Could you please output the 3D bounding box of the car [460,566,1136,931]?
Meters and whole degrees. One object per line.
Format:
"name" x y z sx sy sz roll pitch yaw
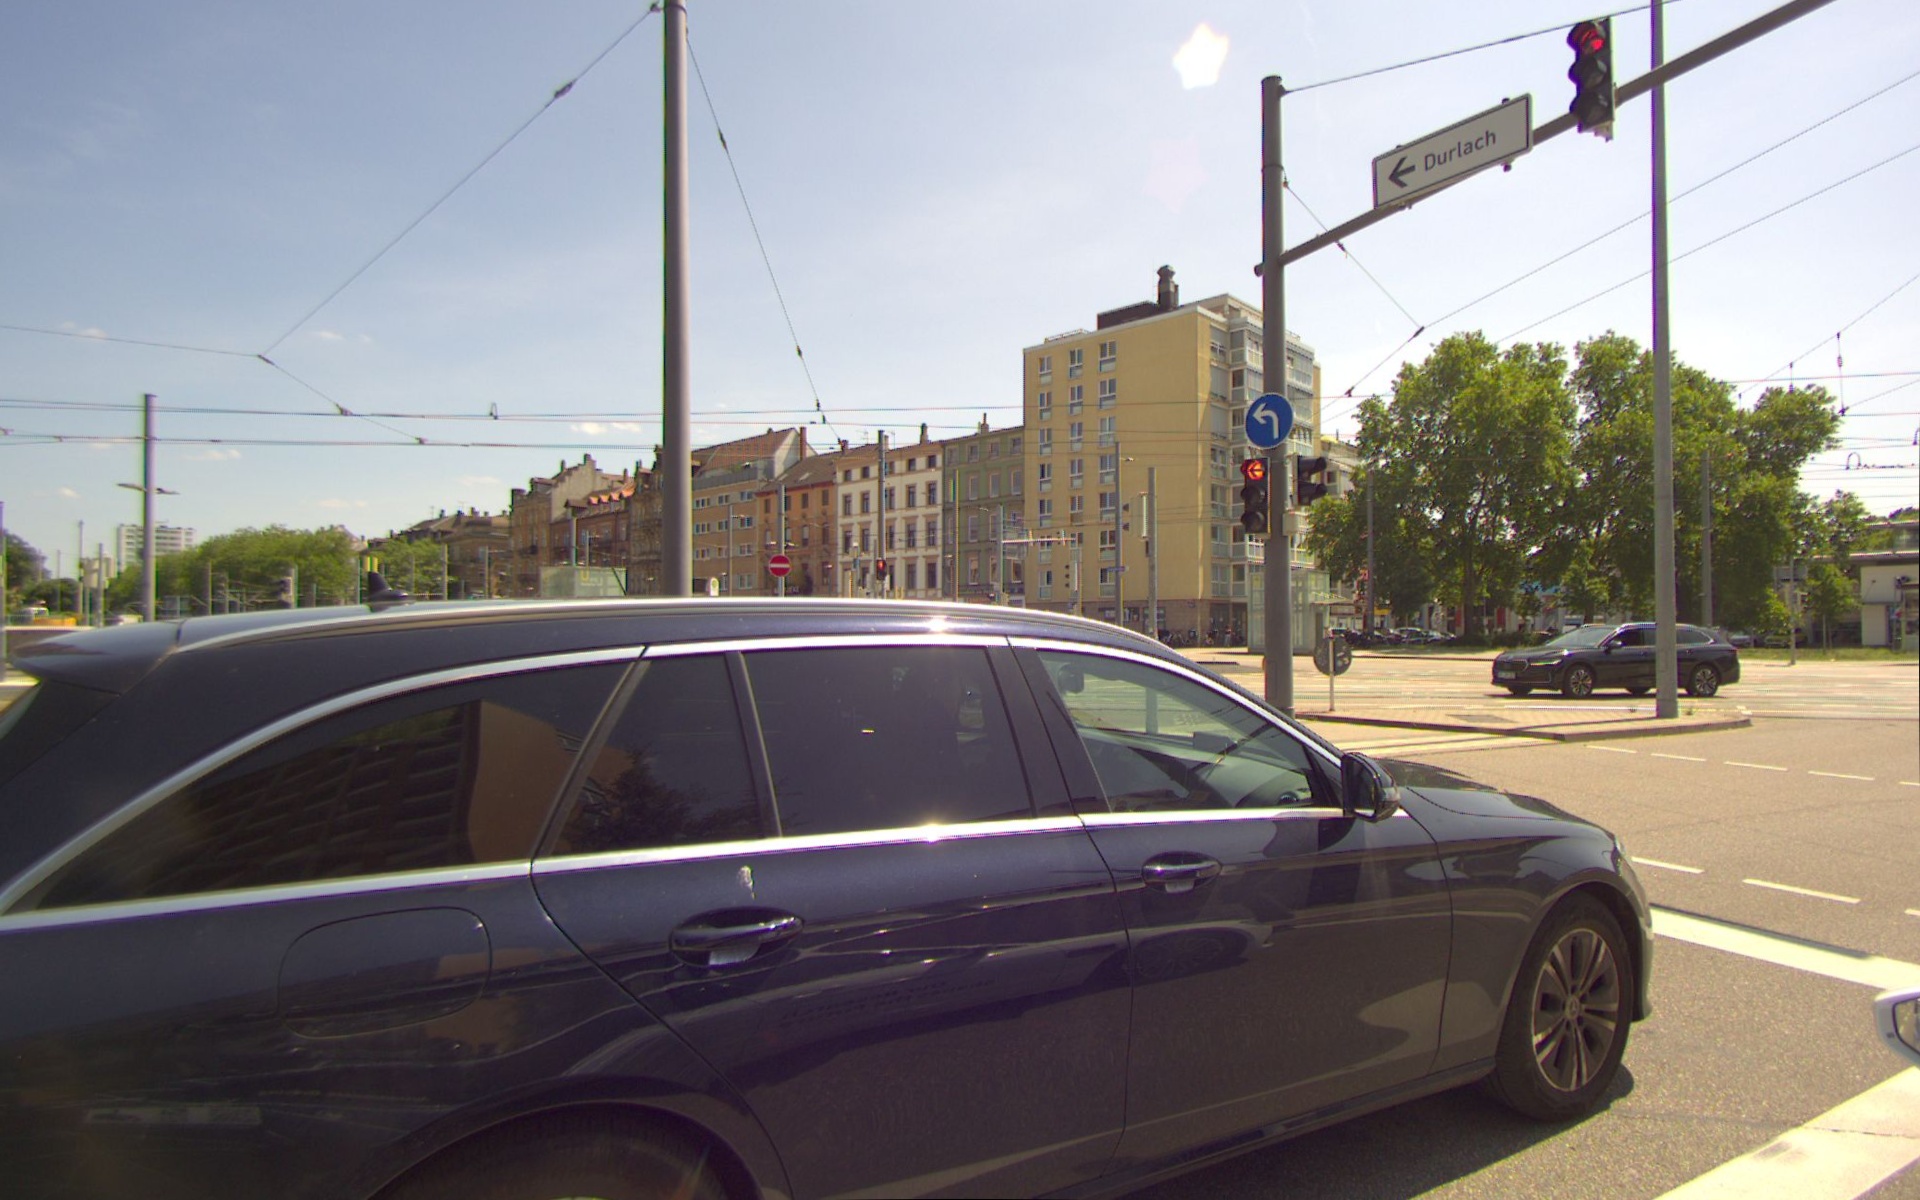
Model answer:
"car" -0.927 0.695 6.087 3.692 1.597 1.736 1 -2 -30

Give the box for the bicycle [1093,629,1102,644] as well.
"bicycle" 9.973 2.630 72.998 0.424 1.040 1.445 0 -1 16

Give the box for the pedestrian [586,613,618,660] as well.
"pedestrian" -14.153 1.431 39.699 1.114 1.837 0.677 -1 -1 38

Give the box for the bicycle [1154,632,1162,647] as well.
"bicycle" 13.662 2.724 69.167 0.424 1.040 1.445 0 -1 16

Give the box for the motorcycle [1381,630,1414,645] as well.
"motorcycle" 27.637 2.357 63.483 1.887 0.974 0.524 -1 -1 31

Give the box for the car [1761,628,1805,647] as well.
"car" 69.184 3.155 84.383 4.283 1.530 1.756 1 -2 -35

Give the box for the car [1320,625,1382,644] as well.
"car" 29.615 2.594 76.113 3.941 1.439 1.990 -1 -2 41

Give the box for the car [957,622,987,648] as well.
"car" 0.806 2.409 70.685 1.803 1.773 3.998 0 -1 -4

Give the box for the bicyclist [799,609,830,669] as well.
"bicyclist" -3.929 1.041 27.014 0.433 1.549 1.245 2 0 -26

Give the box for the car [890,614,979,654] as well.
"car" -1.416 1.825 54.044 4.804 2.084 1.988 -1 -2 43

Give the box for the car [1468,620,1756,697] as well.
"car" 13.296 1.169 20.658 4.754 1.484 1.999 0 -1 -5

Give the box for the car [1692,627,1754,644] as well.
"car" 70.942 3.317 93.477 4.245 1.530 1.771 -1 -2 26

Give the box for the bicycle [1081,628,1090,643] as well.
"bicycle" 9.170 2.608 73.602 0.424 1.040 1.445 0 -1 16

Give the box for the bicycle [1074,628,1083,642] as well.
"bicycle" 8.743 2.597 74.039 0.424 1.040 1.445 0 -1 16

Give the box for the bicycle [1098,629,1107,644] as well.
"bicycle" 10.289 2.638 72.600 0.424 1.040 1.445 0 -1 16

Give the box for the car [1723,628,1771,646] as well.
"car" 68.293 3.195 87.135 4.274 1.530 1.759 1 -2 -29

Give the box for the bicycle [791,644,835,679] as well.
"bicycle" -3.984 1.648 27.129 0.620 0.866 1.887 1 -2 -26

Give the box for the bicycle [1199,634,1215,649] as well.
"bicycle" 16.820 2.818 68.322 0.427 1.040 1.435 -1 -2 44

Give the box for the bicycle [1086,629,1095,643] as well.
"bicycle" 9.531 2.618 73.294 0.424 1.040 1.445 0 -1 16

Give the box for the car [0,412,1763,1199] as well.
"car" 0.154 0.639 2.927 4.747 1.662 1.789 1 0 -30

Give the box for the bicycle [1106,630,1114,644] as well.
"bicycle" 10.807 2.652 72.341 0.424 1.040 1.445 0 -1 16

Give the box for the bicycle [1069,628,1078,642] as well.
"bicycle" 8.400 2.589 74.378 0.424 1.040 1.445 0 -1 16

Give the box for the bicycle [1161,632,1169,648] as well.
"bicycle" 14.036 2.734 68.855 0.424 1.040 1.445 0 -1 16

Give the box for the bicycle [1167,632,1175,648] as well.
"bicycle" 14.406 2.744 68.591 0.424 1.040 1.445 0 -1 16
